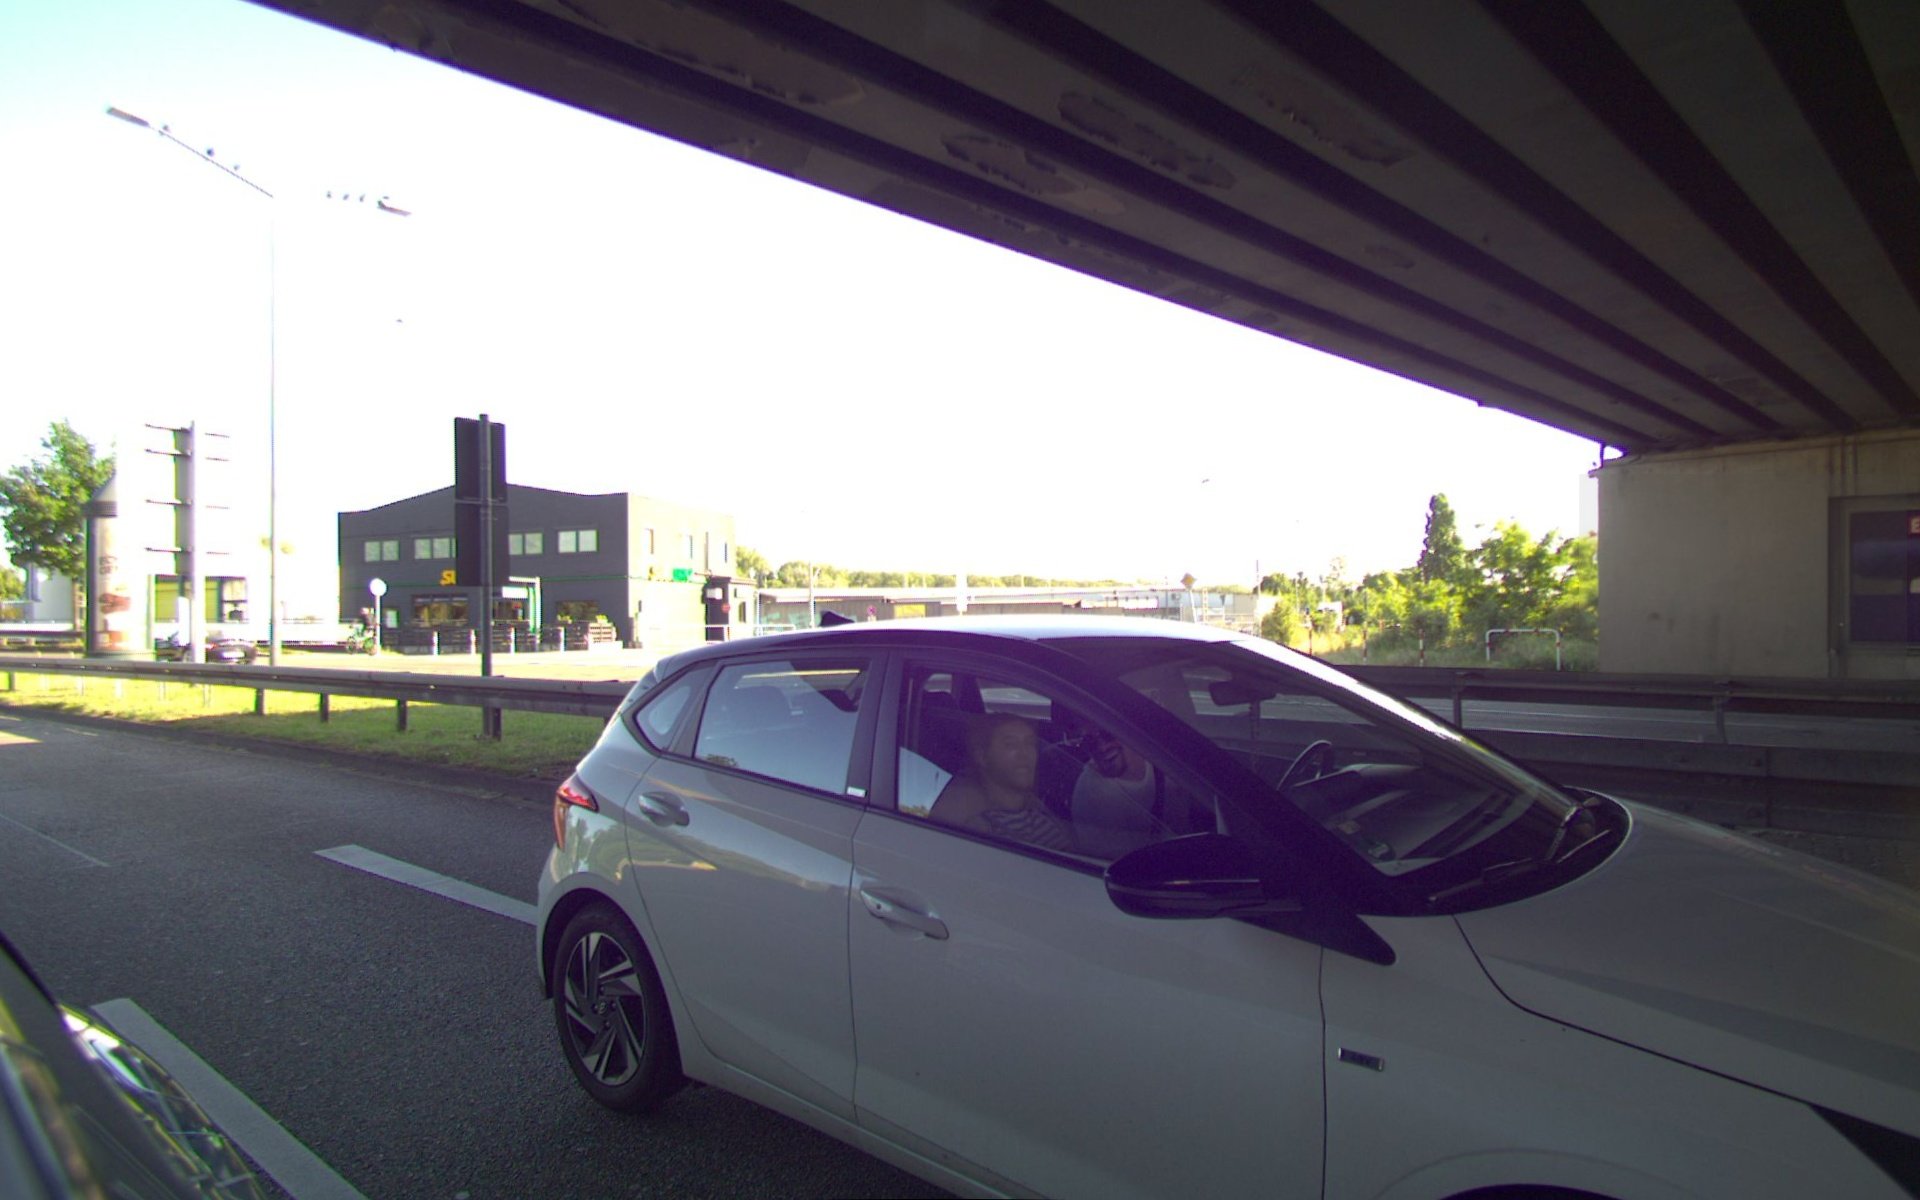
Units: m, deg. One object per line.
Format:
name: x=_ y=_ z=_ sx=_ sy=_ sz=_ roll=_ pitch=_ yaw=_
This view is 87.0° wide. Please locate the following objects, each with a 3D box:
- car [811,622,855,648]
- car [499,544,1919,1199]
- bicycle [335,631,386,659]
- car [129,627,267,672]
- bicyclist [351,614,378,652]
car: x=-6.863 y=1.919 z=54.966 sx=1.806 sy=1.291 sz=4.180 roll=1 pitch=-3 yaw=1
car: x=0.568 y=0.712 z=2.674 sx=3.987 sy=1.491 sz=1.716 roll=-1 pitch=-1 yaw=40
bicycle: x=-23.033 y=1.726 z=38.879 sx=1.733 sy=1.031 sz=0.591 roll=-1 pitch=0 yaw=13
car: x=-23.359 y=1.501 z=31.000 sx=4.162 sy=1.291 sz=1.731 roll=-1 pitch=-4 yaw=28
bicyclist: x=-22.877 y=1.254 z=38.885 sx=0.701 sy=1.438 sz=0.591 roll=-1 pitch=0 yaw=13
